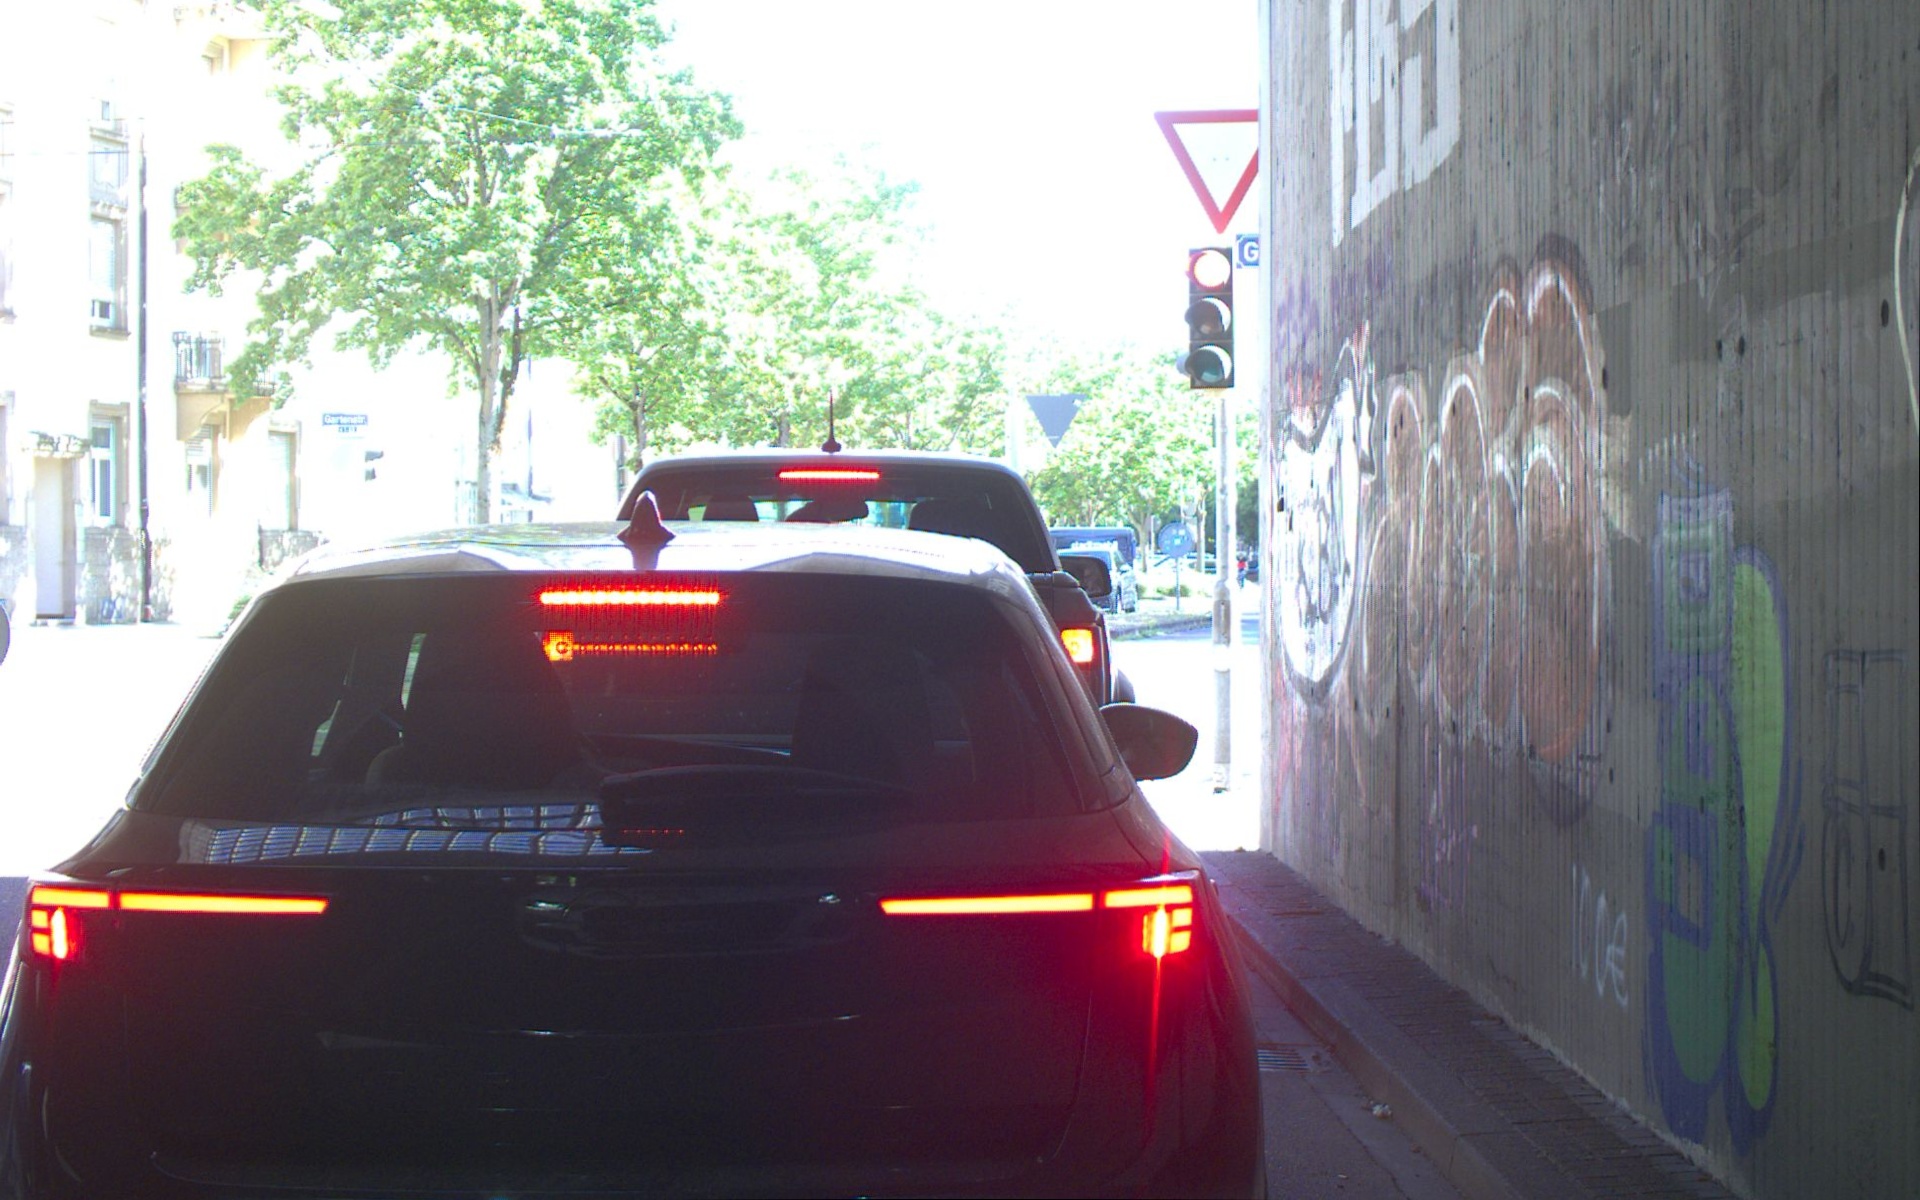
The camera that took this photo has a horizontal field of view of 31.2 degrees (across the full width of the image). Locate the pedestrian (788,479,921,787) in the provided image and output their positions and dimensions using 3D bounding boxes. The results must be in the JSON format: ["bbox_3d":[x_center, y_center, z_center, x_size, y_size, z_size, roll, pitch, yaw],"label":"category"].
[{"bbox_3d":[-0.602,0.182,19.857,0.731,1.728,0.874,1,0,-1],"label":"pedestrian"}]

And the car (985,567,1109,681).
[{"bbox_3d":[1.606,0.400,62.316,1.994,1.963,4.163,1,1,5],"label":"car"}]

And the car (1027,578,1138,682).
[{"bbox_3d":[2.469,0.569,68.495,1.994,1.963,4.163,1,1,5],"label":"car"}]

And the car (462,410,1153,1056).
[{"bbox_3d":[-0.463,0.349,12.004,1.993,1.865,4.000,0,1,-1],"label":"car"}]

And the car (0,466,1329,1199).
[{"bbox_3d":[-0.480,0.562,6.074,1.764,1.566,4.001,1,2,-1],"label":"car"}]
